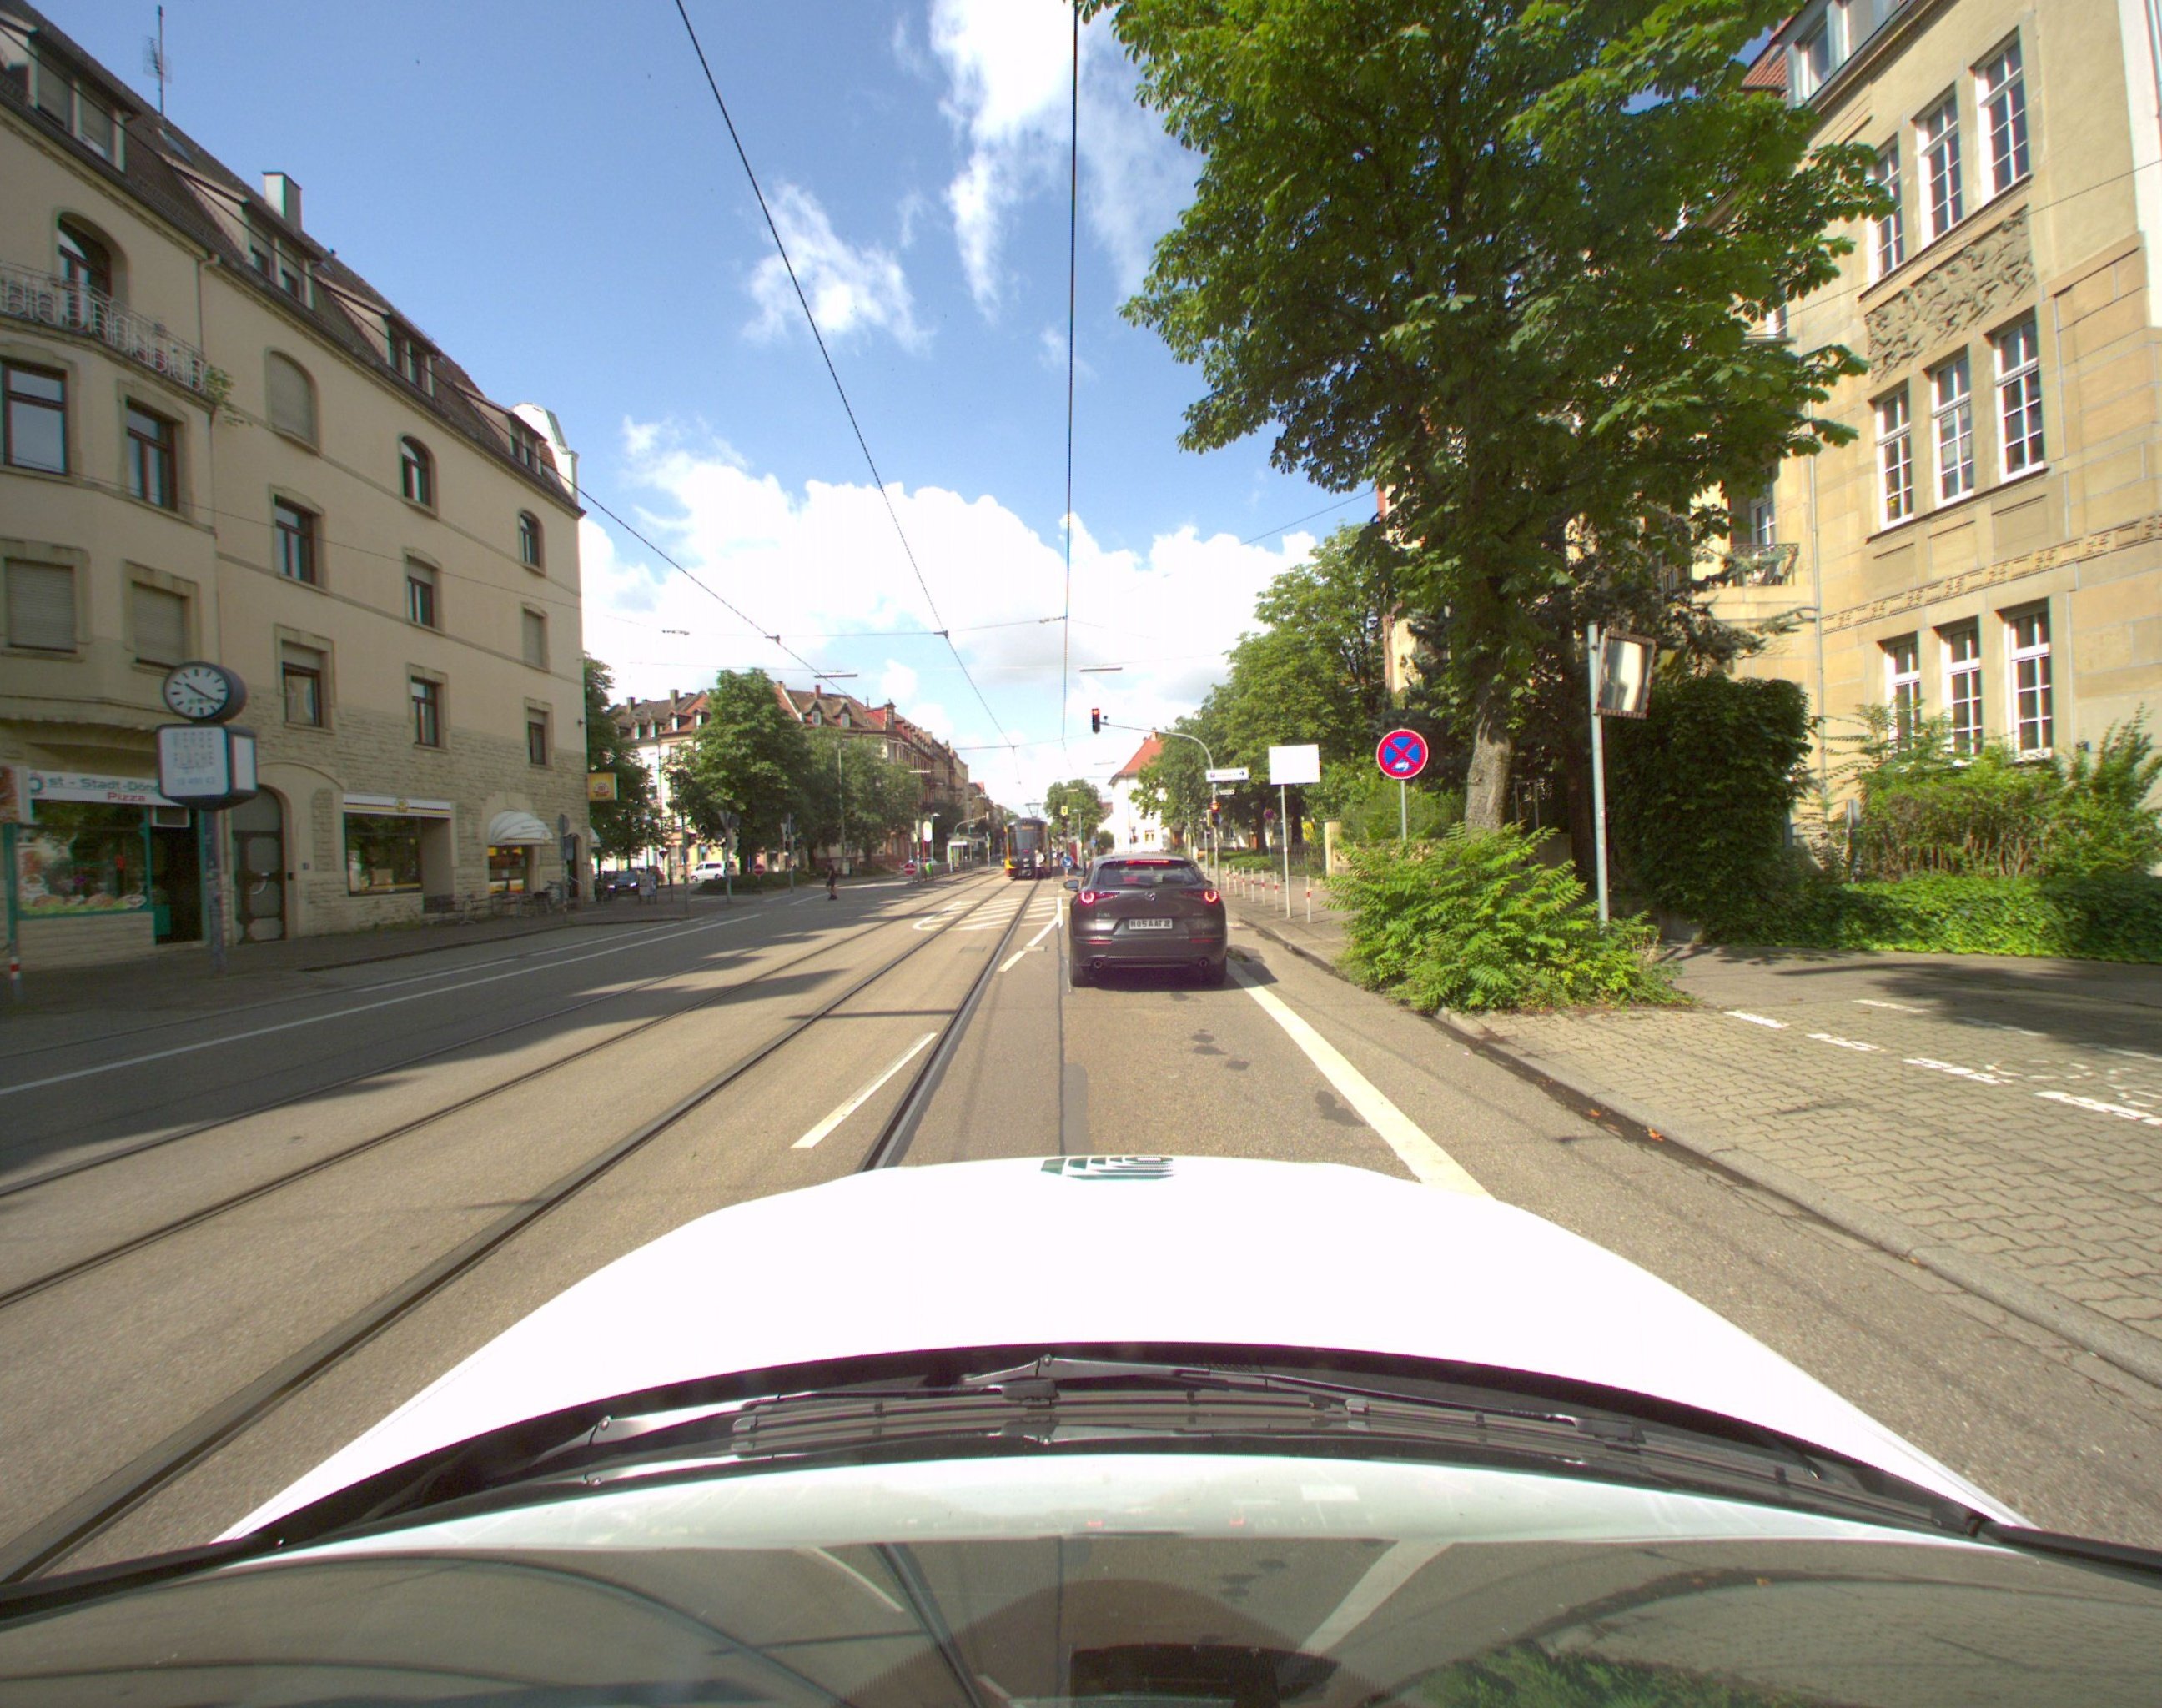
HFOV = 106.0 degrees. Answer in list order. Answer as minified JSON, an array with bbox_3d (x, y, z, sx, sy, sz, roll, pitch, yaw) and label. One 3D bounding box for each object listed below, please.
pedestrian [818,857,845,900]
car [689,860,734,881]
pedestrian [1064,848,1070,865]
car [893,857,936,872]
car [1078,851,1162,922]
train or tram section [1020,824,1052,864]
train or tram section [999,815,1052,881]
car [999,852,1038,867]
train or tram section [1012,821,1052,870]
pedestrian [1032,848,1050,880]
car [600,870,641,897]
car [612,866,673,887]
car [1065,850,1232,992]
[{"bbox_3d":[-10.061,0.975,32.854,0.746,1.684,0.702,-2,0,11],"label":"pedestrian"},{"bbox_3d":[-36.818,1.671,81.150,3.950,1.903,2.012,-2,0,26],"label":"car"},{"bbox_3d":[-1.238,0.193,70.537,0.449,1.434,0.474,-2,0,-3],"label":"pedestrian"},{"bbox_3d":[-17.198,1.107,84.100,4.011,1.360,1.663,-2,0,-29],"label":"car"},{"bbox_3d":[0.888,0.687,19.273,1.772,1.499,4.001,0,0,1],"label":"car"},{"bbox_3d":[-4.302,-1.011,80.391,2.746,3.490,14.397,-2,1,-2],"label":"train or tram section"},{"bbox_3d":[-3.294,-0.481,51.598,2.746,3.490,14.397,-2,1,-2],"label":"train or tram section"},{"bbox_3d":[-6.808,0.609,89.030,3.991,1.498,1.671,-2,0,-13],"label":"car"},{"bbox_3d":[-3.808,-0.747,66.000,2.746,3.490,14.397,-2,1,-2],"label":"train or tram section"},{"bbox_3d":[-2.168,0.532,43.860,0.718,1.705,0.819,-2,0,-17],"label":"pedestrian"},{"bbox_3d":[-29.063,1.811,51.543,1.763,1.518,4.037,-2,0,-23],"label":"car"},{"bbox_3d":[-37.164,1.900,69.118,3.971,1.596,2.001,-3,0,2],"label":"car"},{"bbox_3d":[0.771,0.705,10.662,1.772,1.499,4.001,0,0,1],"label":"car"}]
